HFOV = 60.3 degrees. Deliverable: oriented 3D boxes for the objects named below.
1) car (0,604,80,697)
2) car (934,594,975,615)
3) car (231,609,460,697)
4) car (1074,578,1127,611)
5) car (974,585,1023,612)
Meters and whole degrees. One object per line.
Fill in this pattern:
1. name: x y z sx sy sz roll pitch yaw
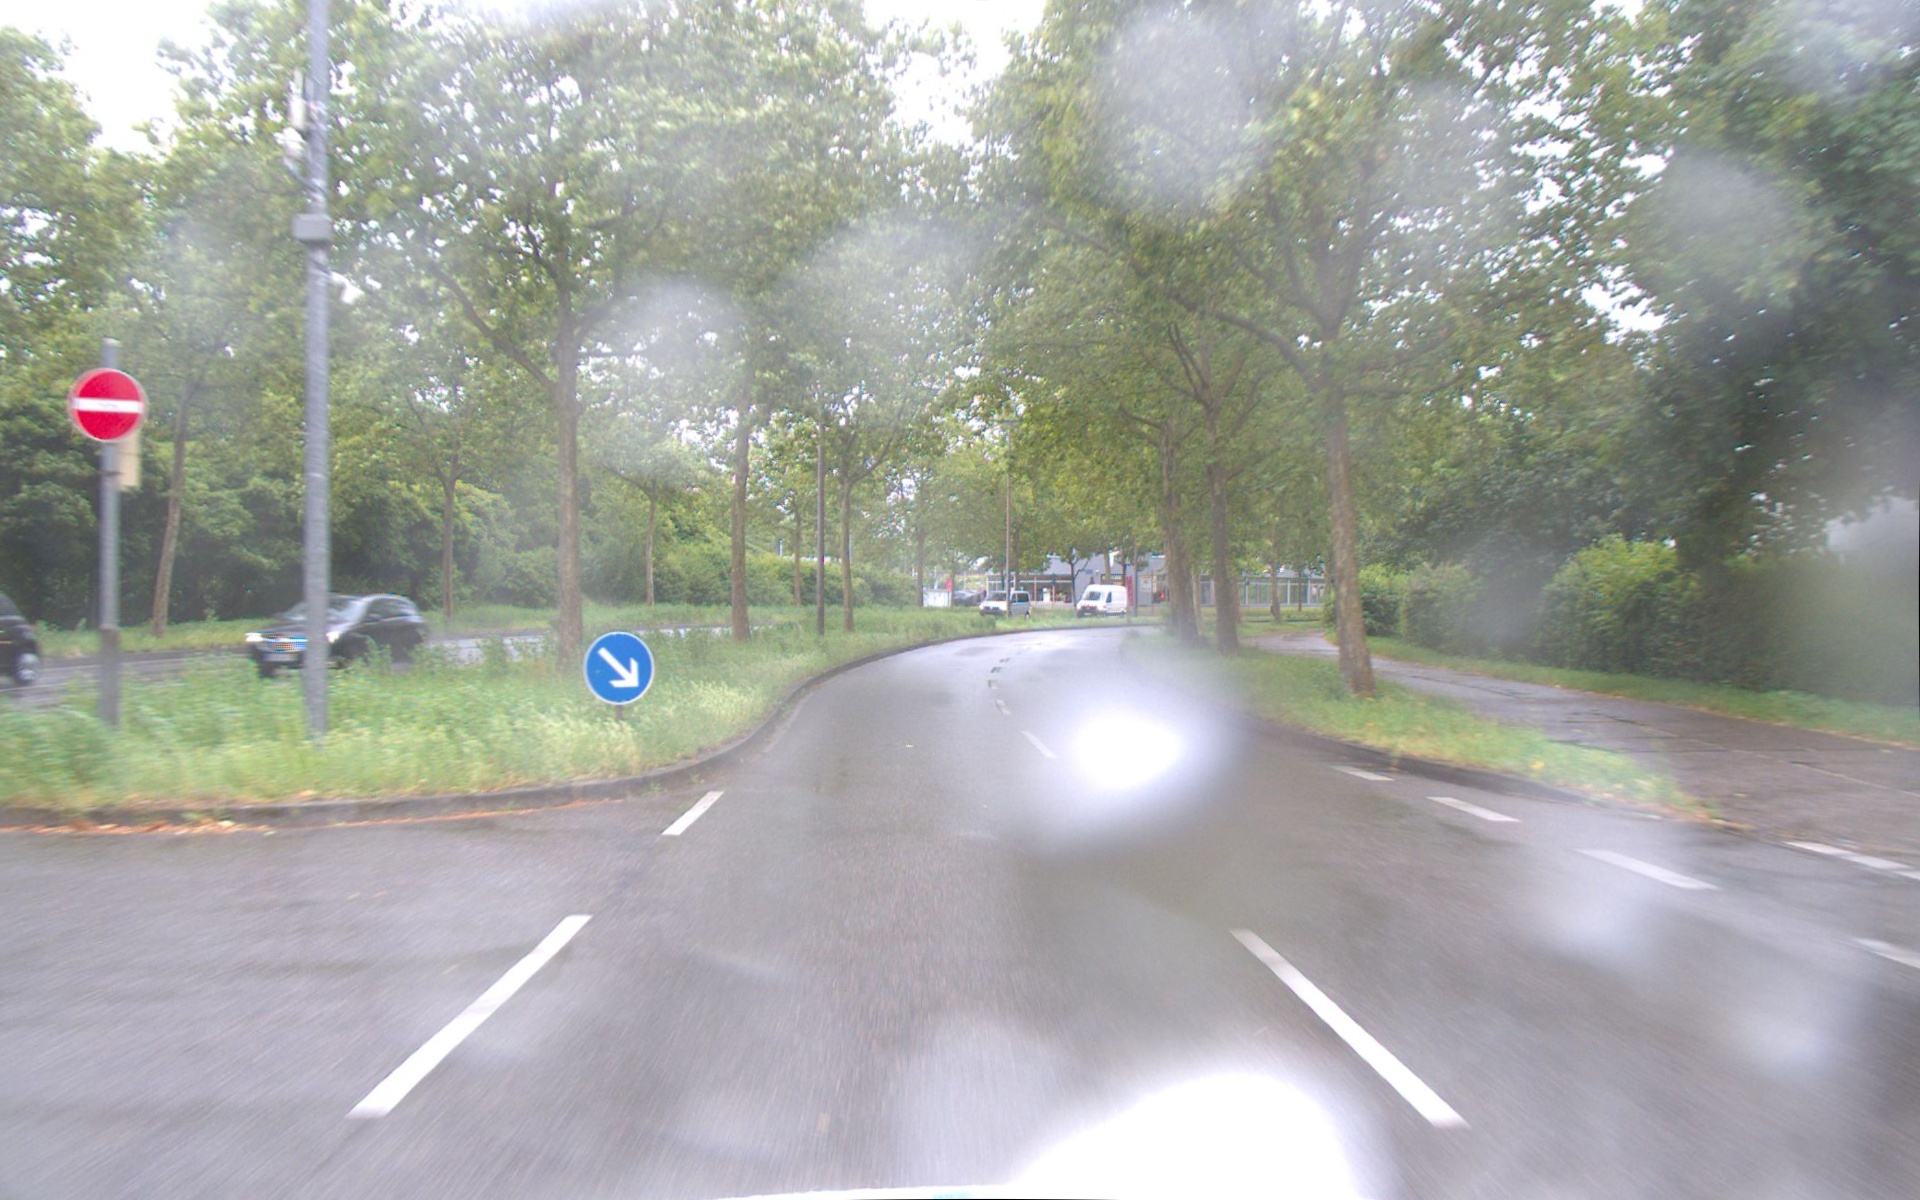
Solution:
1. car: -15.236 0.773 24.917 1.554 1.397 4.263 0 0 2
2. car: -0.526 0.492 167.552 3.913 2.049 1.996 0 -2 -9
3. car: -11.281 0.924 30.808 1.961 1.477 4.995 0 0 6
4. car: 10.075 -0.381 117.949 2.235 2.311 5.968 0 0 20
5. car: 2.413 -0.087 101.955 1.930 1.591 4.734 0 0 16
